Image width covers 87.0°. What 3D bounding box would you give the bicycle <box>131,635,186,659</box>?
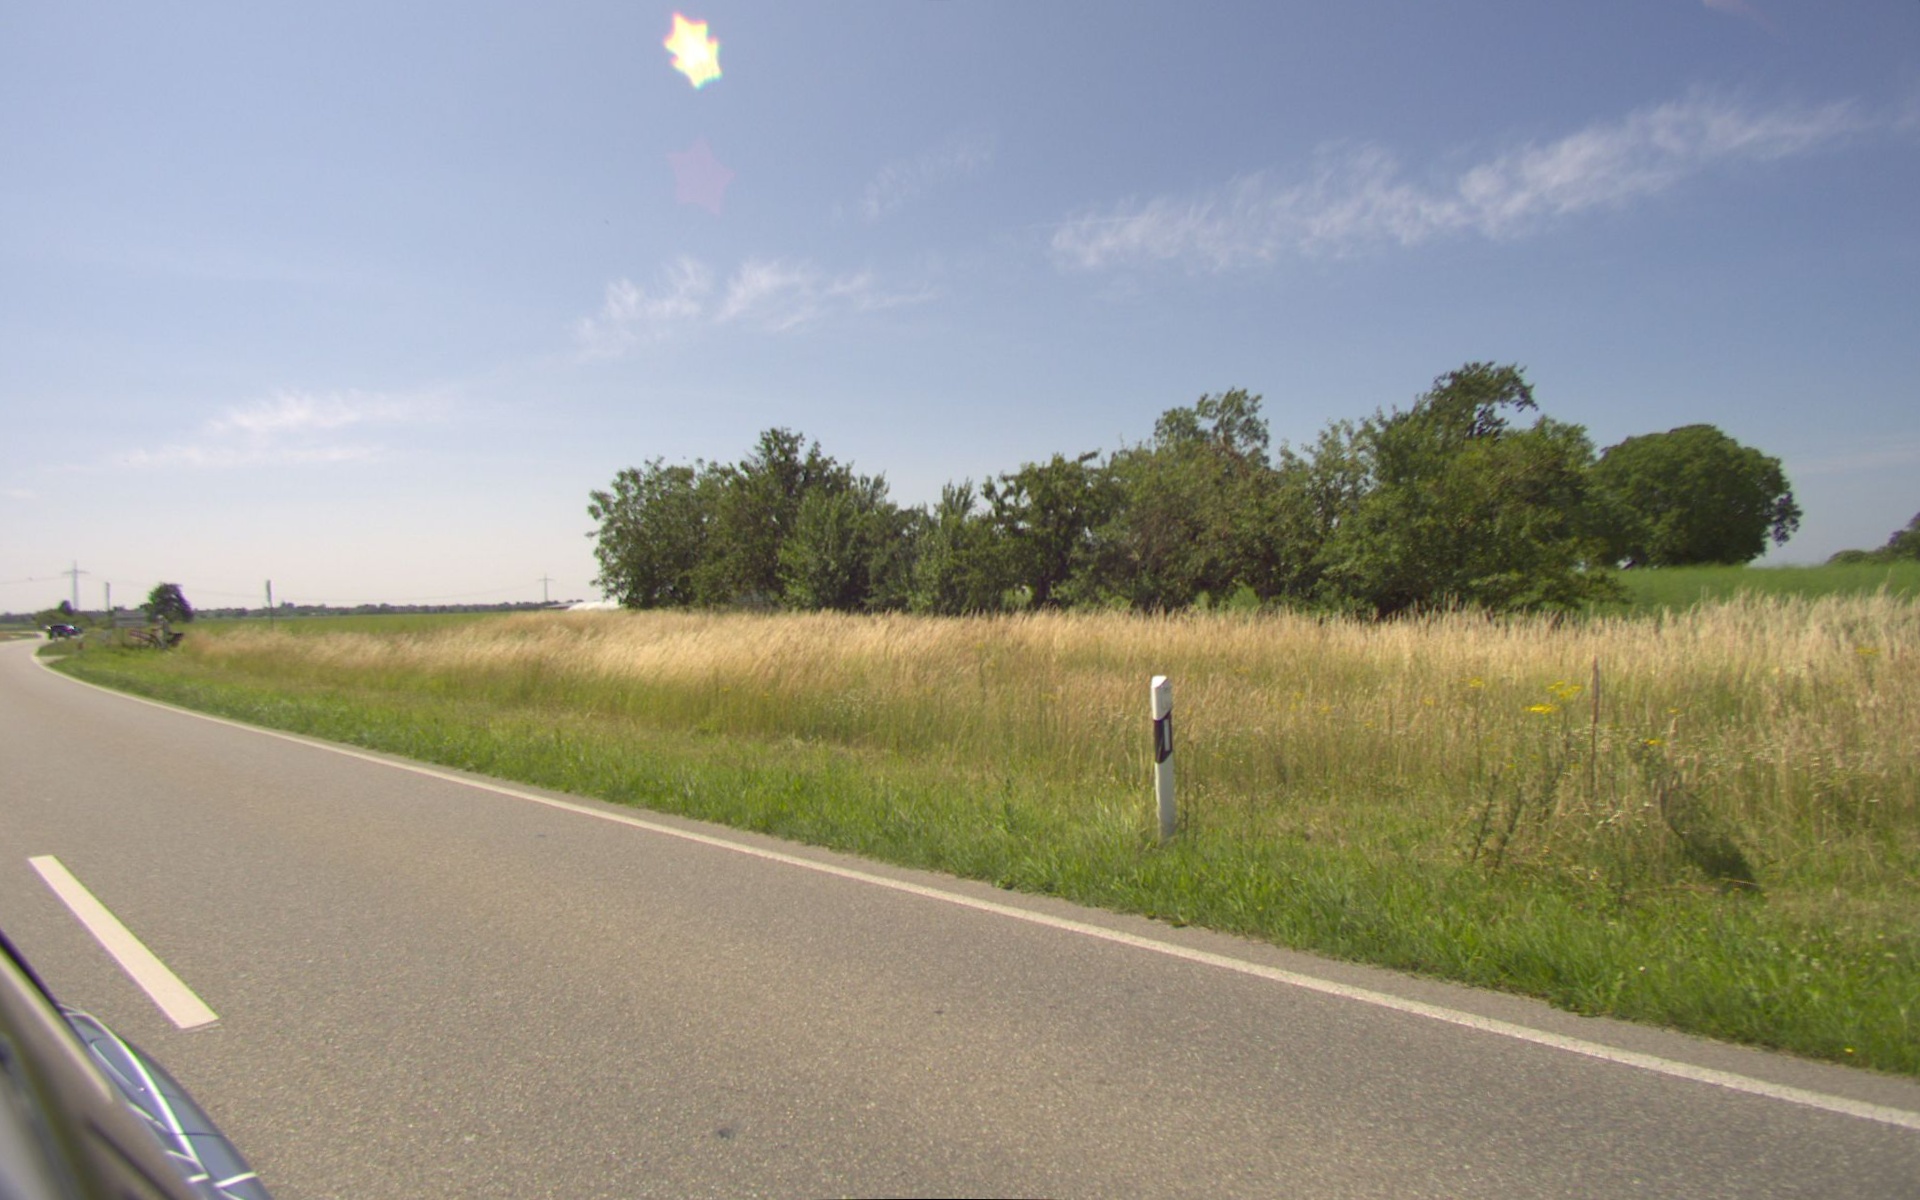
[{"bbox_3d":[-36.980,2.167,46.735,1.892,1.000,0.684,-2,0,-33],"label":"bicycle"}]

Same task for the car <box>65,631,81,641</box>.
[{"bbox_3d":[-132.205,5.326,150.863,1.720,1.367,4.425,0,-2,-40],"label":"car"}]

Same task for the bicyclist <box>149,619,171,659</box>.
[{"bbox_3d":[-36.963,1.790,46.755,0.690,1.771,0.664,-2,0,-32],"label":"bicyclist"}]

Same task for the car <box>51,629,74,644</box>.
[{"bbox_3d":[-104.818,4.268,118.222,1.909,1.765,5.212,1,-2,-40],"label":"car"}]

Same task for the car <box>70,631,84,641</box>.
[{"bbox_3d":[-151.990,6.190,174.226,1.718,1.544,4.148,0,-1,-40],"label":"car"}]
